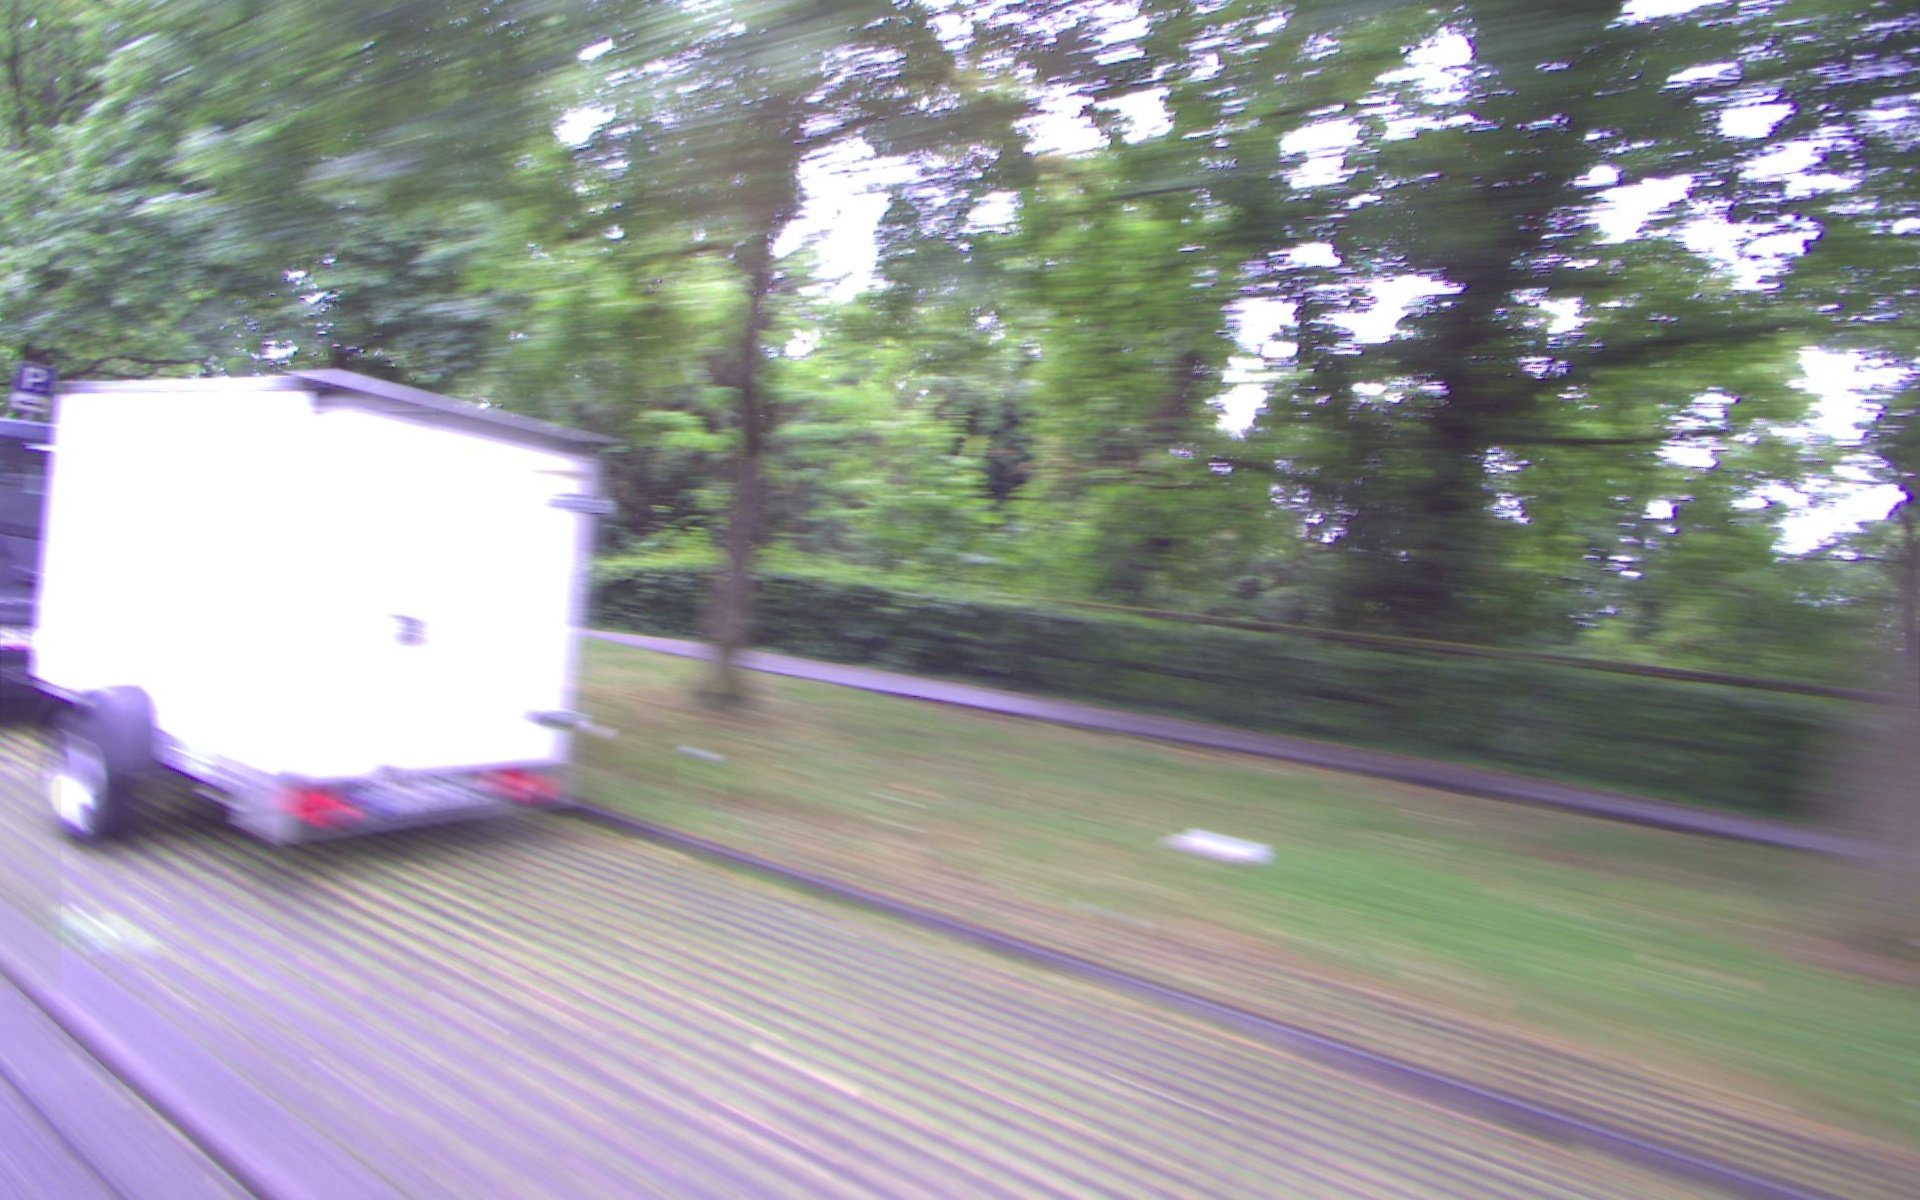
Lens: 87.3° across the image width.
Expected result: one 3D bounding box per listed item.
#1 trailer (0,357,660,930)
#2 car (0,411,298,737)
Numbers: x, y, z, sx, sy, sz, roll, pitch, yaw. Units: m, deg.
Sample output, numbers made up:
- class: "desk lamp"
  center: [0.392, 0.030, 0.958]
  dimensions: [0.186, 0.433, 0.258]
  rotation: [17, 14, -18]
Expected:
- class: "trailer"
  center: [-3.623, 0.022, 5.379]
  dimensions: [3.934, 2.102, 1.530]
  rotation: [7, 1, 33]
- class: "car"
  center: [-7.724, -0.342, 7.885]
  dimensions: [5.417, 1.933, 1.996]
  rotation: [6, 0, 31]
